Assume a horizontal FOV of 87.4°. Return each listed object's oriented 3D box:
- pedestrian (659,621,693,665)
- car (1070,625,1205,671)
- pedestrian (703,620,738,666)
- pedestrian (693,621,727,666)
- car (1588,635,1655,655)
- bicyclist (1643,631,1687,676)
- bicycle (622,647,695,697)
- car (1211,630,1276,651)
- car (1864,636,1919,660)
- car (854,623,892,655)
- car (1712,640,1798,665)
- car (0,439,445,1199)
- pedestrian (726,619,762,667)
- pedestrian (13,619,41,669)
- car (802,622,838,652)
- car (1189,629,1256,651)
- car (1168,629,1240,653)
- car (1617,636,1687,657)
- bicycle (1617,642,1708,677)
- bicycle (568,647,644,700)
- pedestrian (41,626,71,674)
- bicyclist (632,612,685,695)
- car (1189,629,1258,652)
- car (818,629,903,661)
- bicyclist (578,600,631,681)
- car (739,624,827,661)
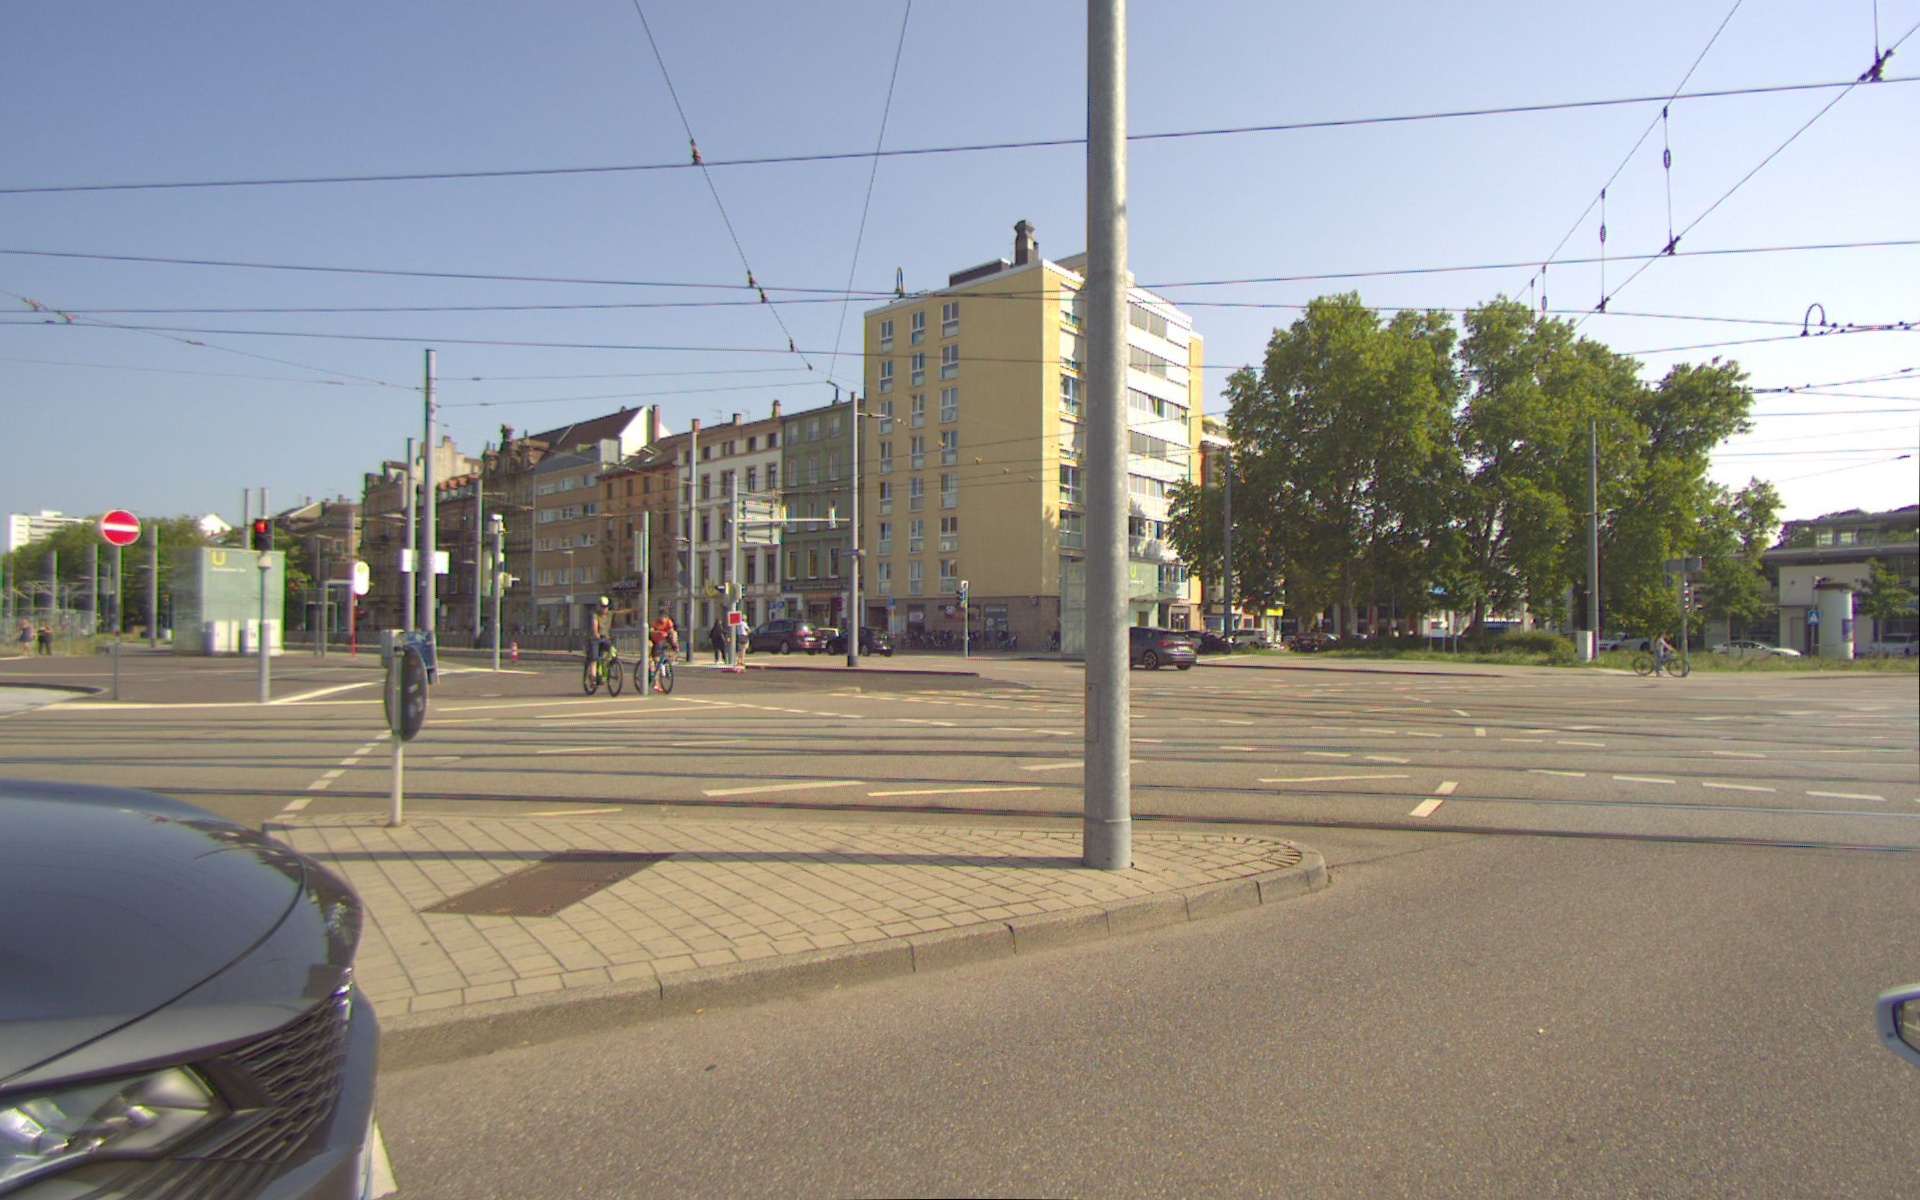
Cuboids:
[{"bbox_3d":[-11.079,1.672,39.213,0.911,1.712,0.918,0,-1,40],"label":"pedestrian"},{"bbox_3d":[6.076,1.628,34.829,1.823,1.454,4.497,2,-2,-40],"label":"car"},{"bbox_3d":[-9.095,1.607,38.162,0.911,1.712,0.918,0,-1,40],"label":"pedestrian"},{"bbox_3d":[-9.712,1.697,39.079,0.911,1.712,0.918,0,-1,40],"label":"pedestrian"},{"bbox_3d":[54.344,3.701,82.594,4.426,1.543,1.705,1,-1,-1],"label":"car"},{"bbox_3d":[25.561,1.925,36.417,1.150,1.547,0.955,2,0,44],"label":"bicyclist"},{"bbox_3d":[-6.265,1.466,20.810,0.721,0.944,1.795,2,-2,-43],"label":"bicycle"},{"bbox_3d":[19.641,2.780,69.691,4.106,1.372,1.571,0,-2,39],"label":"car"},{"bbox_3d":[62.424,3.183,67.212,4.049,1.542,1.692,2,-1,-29],"label":"car"},{"bbox_3d":[-4.783,2.113,55.455,1.962,1.701,4.548,1,-1,-4],"label":"car"},{"bbox_3d":[51.746,3.390,65.444,1.683,1.542,4.071,1,-1,-27],"label":"car"},{"bbox_3d":[-2.823,0.603,0.752,4.317,1.511,1.676,1,-2,-28],"label":"car"},{"bbox_3d":[-7.945,1.573,36.951,0.911,1.712,0.918,0,-1,40],"label":"pedestrian"},{"bbox_3d":[-35.226,1.649,37.924,0.646,1.891,0.714,1,-1,-36],"label":"pedestrian"},{"bbox_3d":[-8.183,2.136,58.847,1.963,1.701,4.545,1,-1,-8],"label":"car"},{"bbox_3d":[17.849,2.724,68.341,4.106,1.372,1.571,0,-2,39],"label":"car"},{"bbox_3d":[15.402,2.567,63.493,4.106,1.372,1.571,0,-2,39],"label":"car"},{"bbox_3d":[55.127,3.689,80.053,4.426,1.543,1.705,1,-1,-1],"label":"car"},{"bbox_3d":[25.489,2.155,36.476,2.572,1.071,0.955,3,0,44],"label":"bicycle"},{"bbox_3d":[-6.972,1.416,19.742,0.721,0.944,1.795,2,-2,-43],"label":"bicycle"},{"bbox_3d":[-34.598,1.912,38.436,0.745,1.806,0.700,1,-1,-36],"label":"pedestrian"},{"bbox_3d":[-6.240,1.094,20.793,0.721,1.674,0.873,1,-2,-44],"label":"bicyclist"},{"bbox_3d":[17.406,2.665,66.453,4.106,1.372,1.571,0,-2,39],"label":"car"},{"bbox_3d":[-4.993,2.189,49.961,4.306,1.511,1.680,-1,-2,40],"label":"car"},{"bbox_3d":[-7.006,0.797,19.801,0.721,1.547,0.786,1,-2,-44],"label":"bicyclist"},{"bbox_3d":[-8.738,2.066,49.424,4.487,1.701,1.989,0,-2,43],"label":"car"}]
